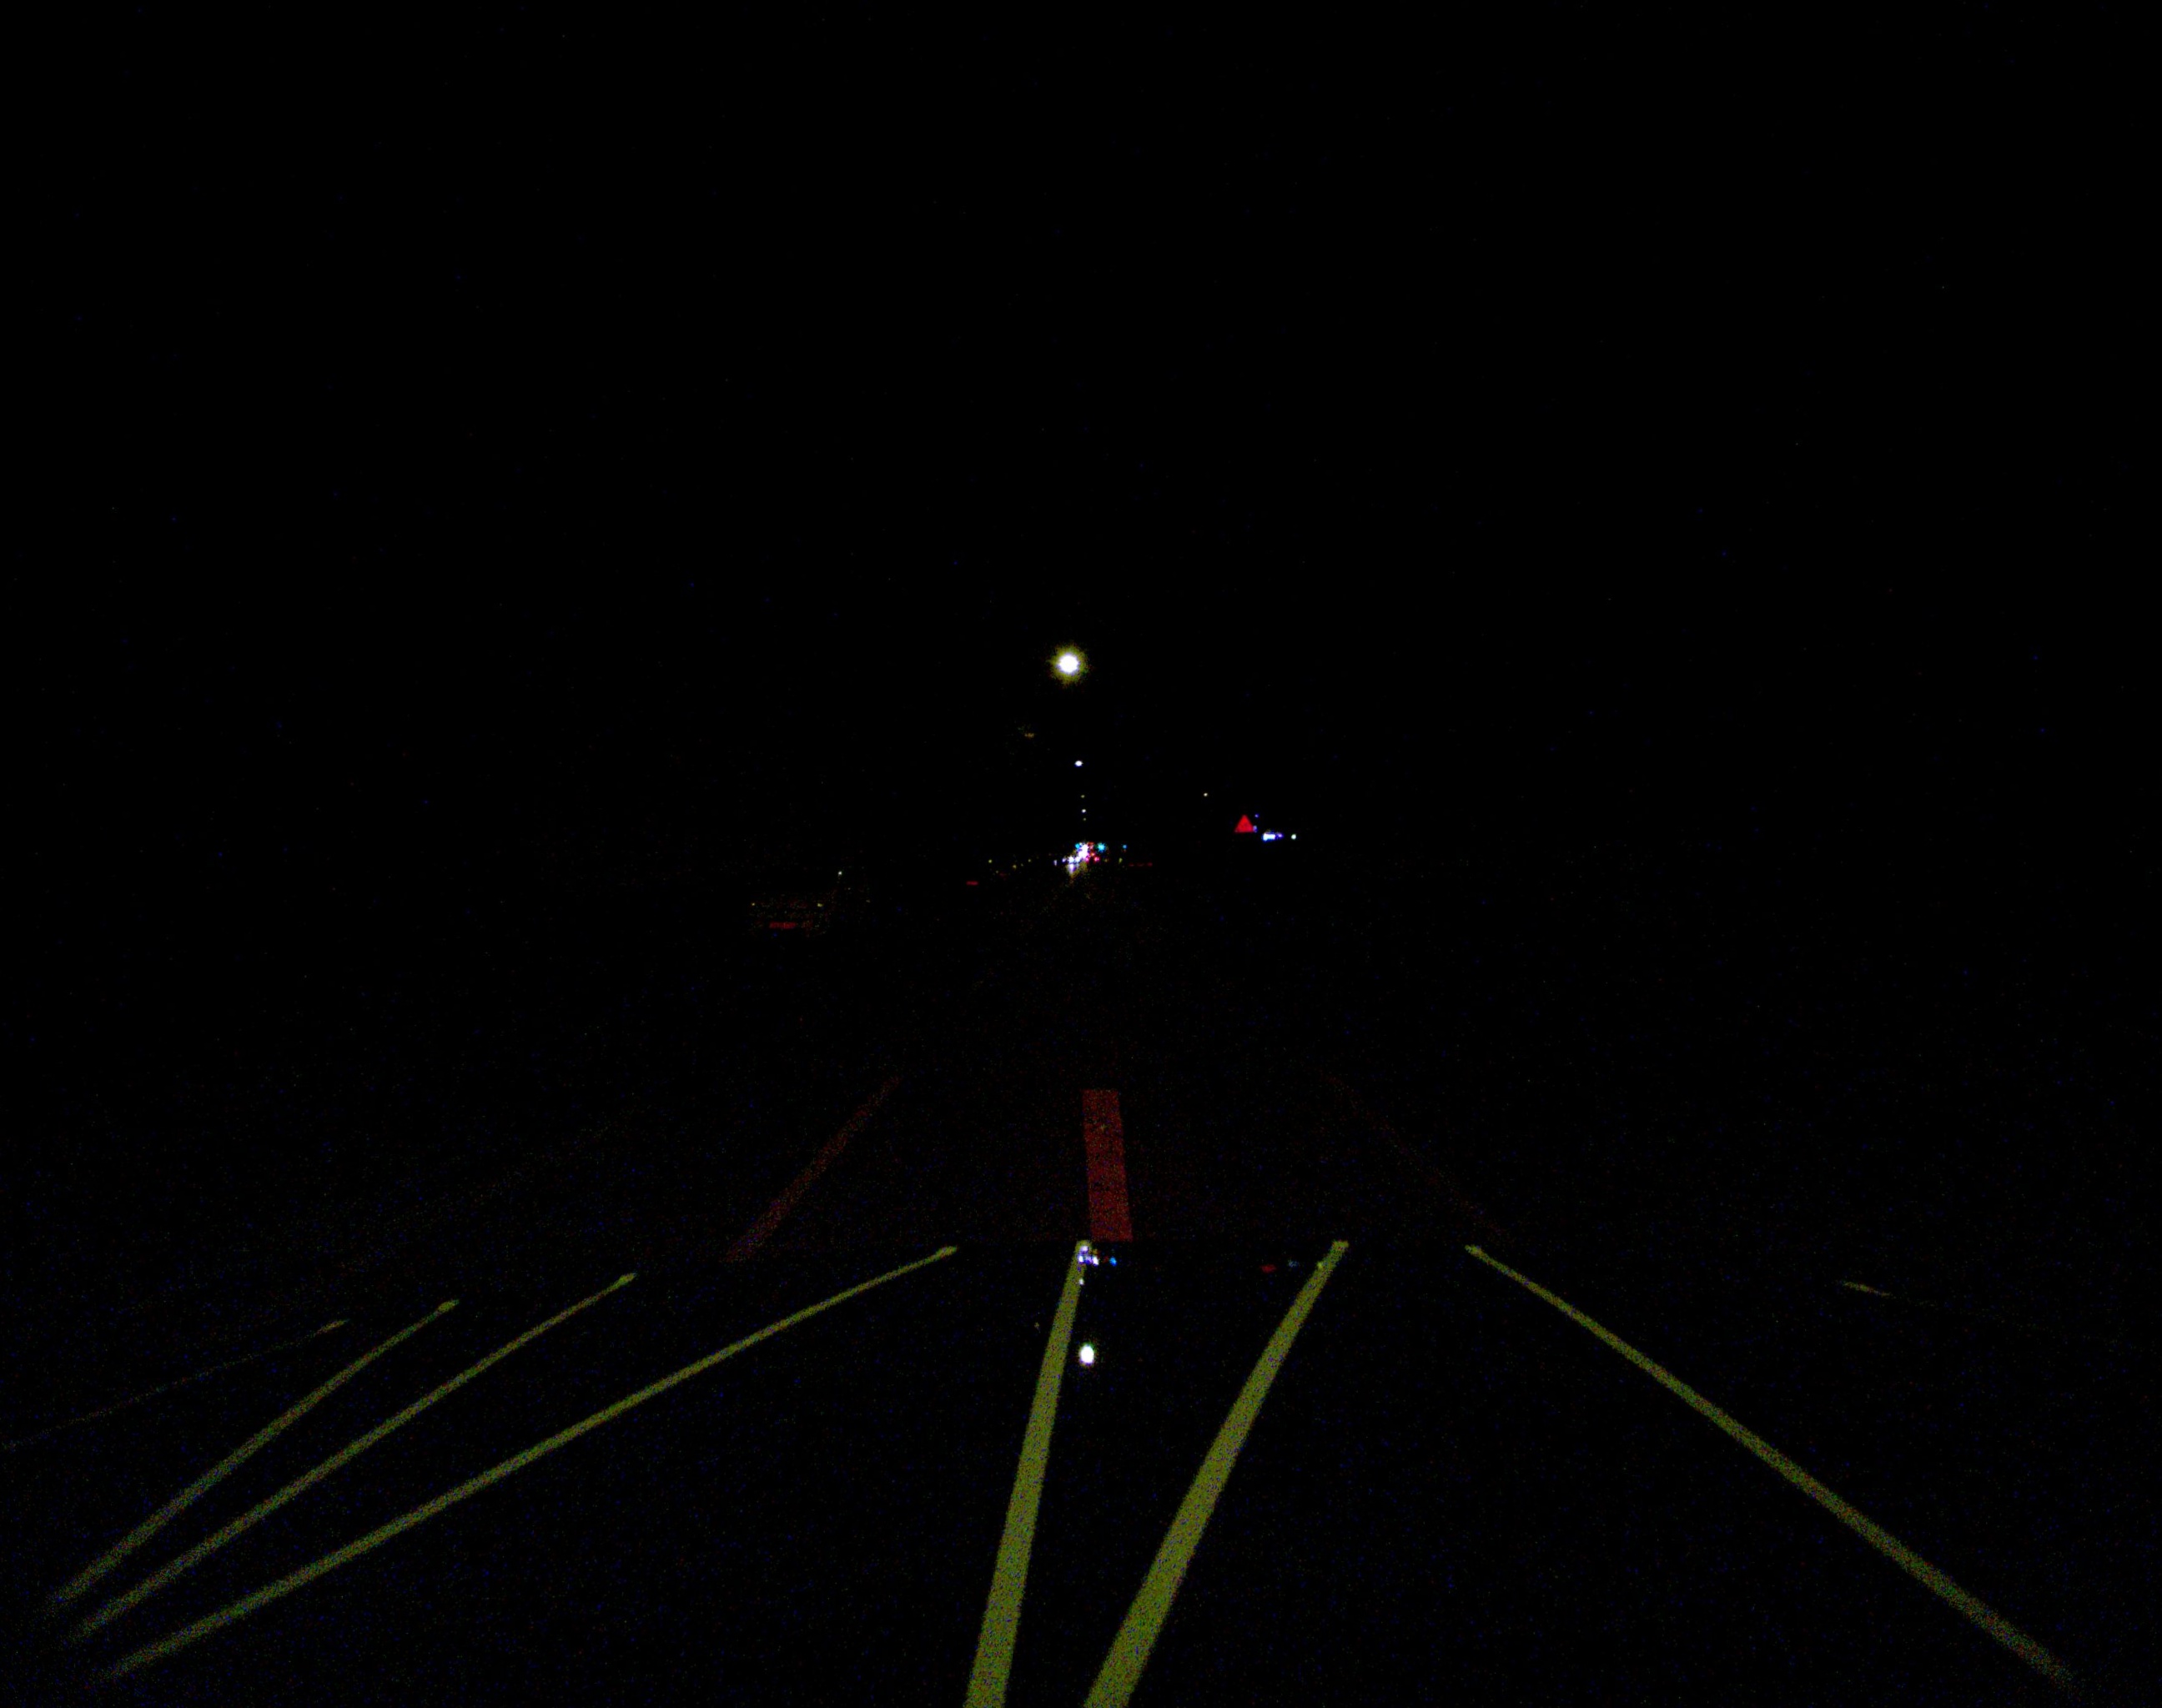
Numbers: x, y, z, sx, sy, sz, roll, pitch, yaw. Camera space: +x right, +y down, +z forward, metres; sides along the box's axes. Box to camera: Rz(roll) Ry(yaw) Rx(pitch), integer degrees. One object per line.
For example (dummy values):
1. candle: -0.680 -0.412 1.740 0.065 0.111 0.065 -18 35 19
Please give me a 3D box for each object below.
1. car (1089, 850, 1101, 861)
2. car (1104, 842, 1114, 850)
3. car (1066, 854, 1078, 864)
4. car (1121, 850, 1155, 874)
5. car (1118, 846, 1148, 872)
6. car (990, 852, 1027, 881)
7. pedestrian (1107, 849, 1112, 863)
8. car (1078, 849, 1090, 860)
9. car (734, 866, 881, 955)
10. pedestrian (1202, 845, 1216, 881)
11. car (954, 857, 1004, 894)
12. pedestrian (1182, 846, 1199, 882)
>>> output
1. car: 2.117 0.252 115.567 1.754 1.433 3.487 -2 -2 1
2. car: 5.742 -1.620 154.016 1.903 1.581 3.661 -2 1 2
3. car: -1.545 0.864 134.419 1.998 1.718 3.803 -2 1 1
4. car: 3.886 0.513 52.071 1.998 1.477 3.999 -3 1 1
5. car: 3.890 0.356 57.102 1.998 1.772 3.999 -2 1 1
6. car: -4.463 0.749 47.470 1.852 1.643 4.179 -2 0 0
7. pedestrian: 4.441 0.309 118.207 0.804 2.002 0.940 -2 1 1
8. car: 0.513 0.042 134.868 1.998 1.740 3.999 -2 1 1
9. car: -5.242 1.008 15.038 1.611 1.500 3.486 0 0 1
10. pedestrian: 6.396 0.459 37.998 0.565 1.750 0.500 -2 1 1
11. car: -4.473 0.904 33.938 1.742 1.489 3.890 -1 0 -1
12. pedestrian: 5.312 0.476 36.930 0.673 1.750 0.500 -2 1 1
